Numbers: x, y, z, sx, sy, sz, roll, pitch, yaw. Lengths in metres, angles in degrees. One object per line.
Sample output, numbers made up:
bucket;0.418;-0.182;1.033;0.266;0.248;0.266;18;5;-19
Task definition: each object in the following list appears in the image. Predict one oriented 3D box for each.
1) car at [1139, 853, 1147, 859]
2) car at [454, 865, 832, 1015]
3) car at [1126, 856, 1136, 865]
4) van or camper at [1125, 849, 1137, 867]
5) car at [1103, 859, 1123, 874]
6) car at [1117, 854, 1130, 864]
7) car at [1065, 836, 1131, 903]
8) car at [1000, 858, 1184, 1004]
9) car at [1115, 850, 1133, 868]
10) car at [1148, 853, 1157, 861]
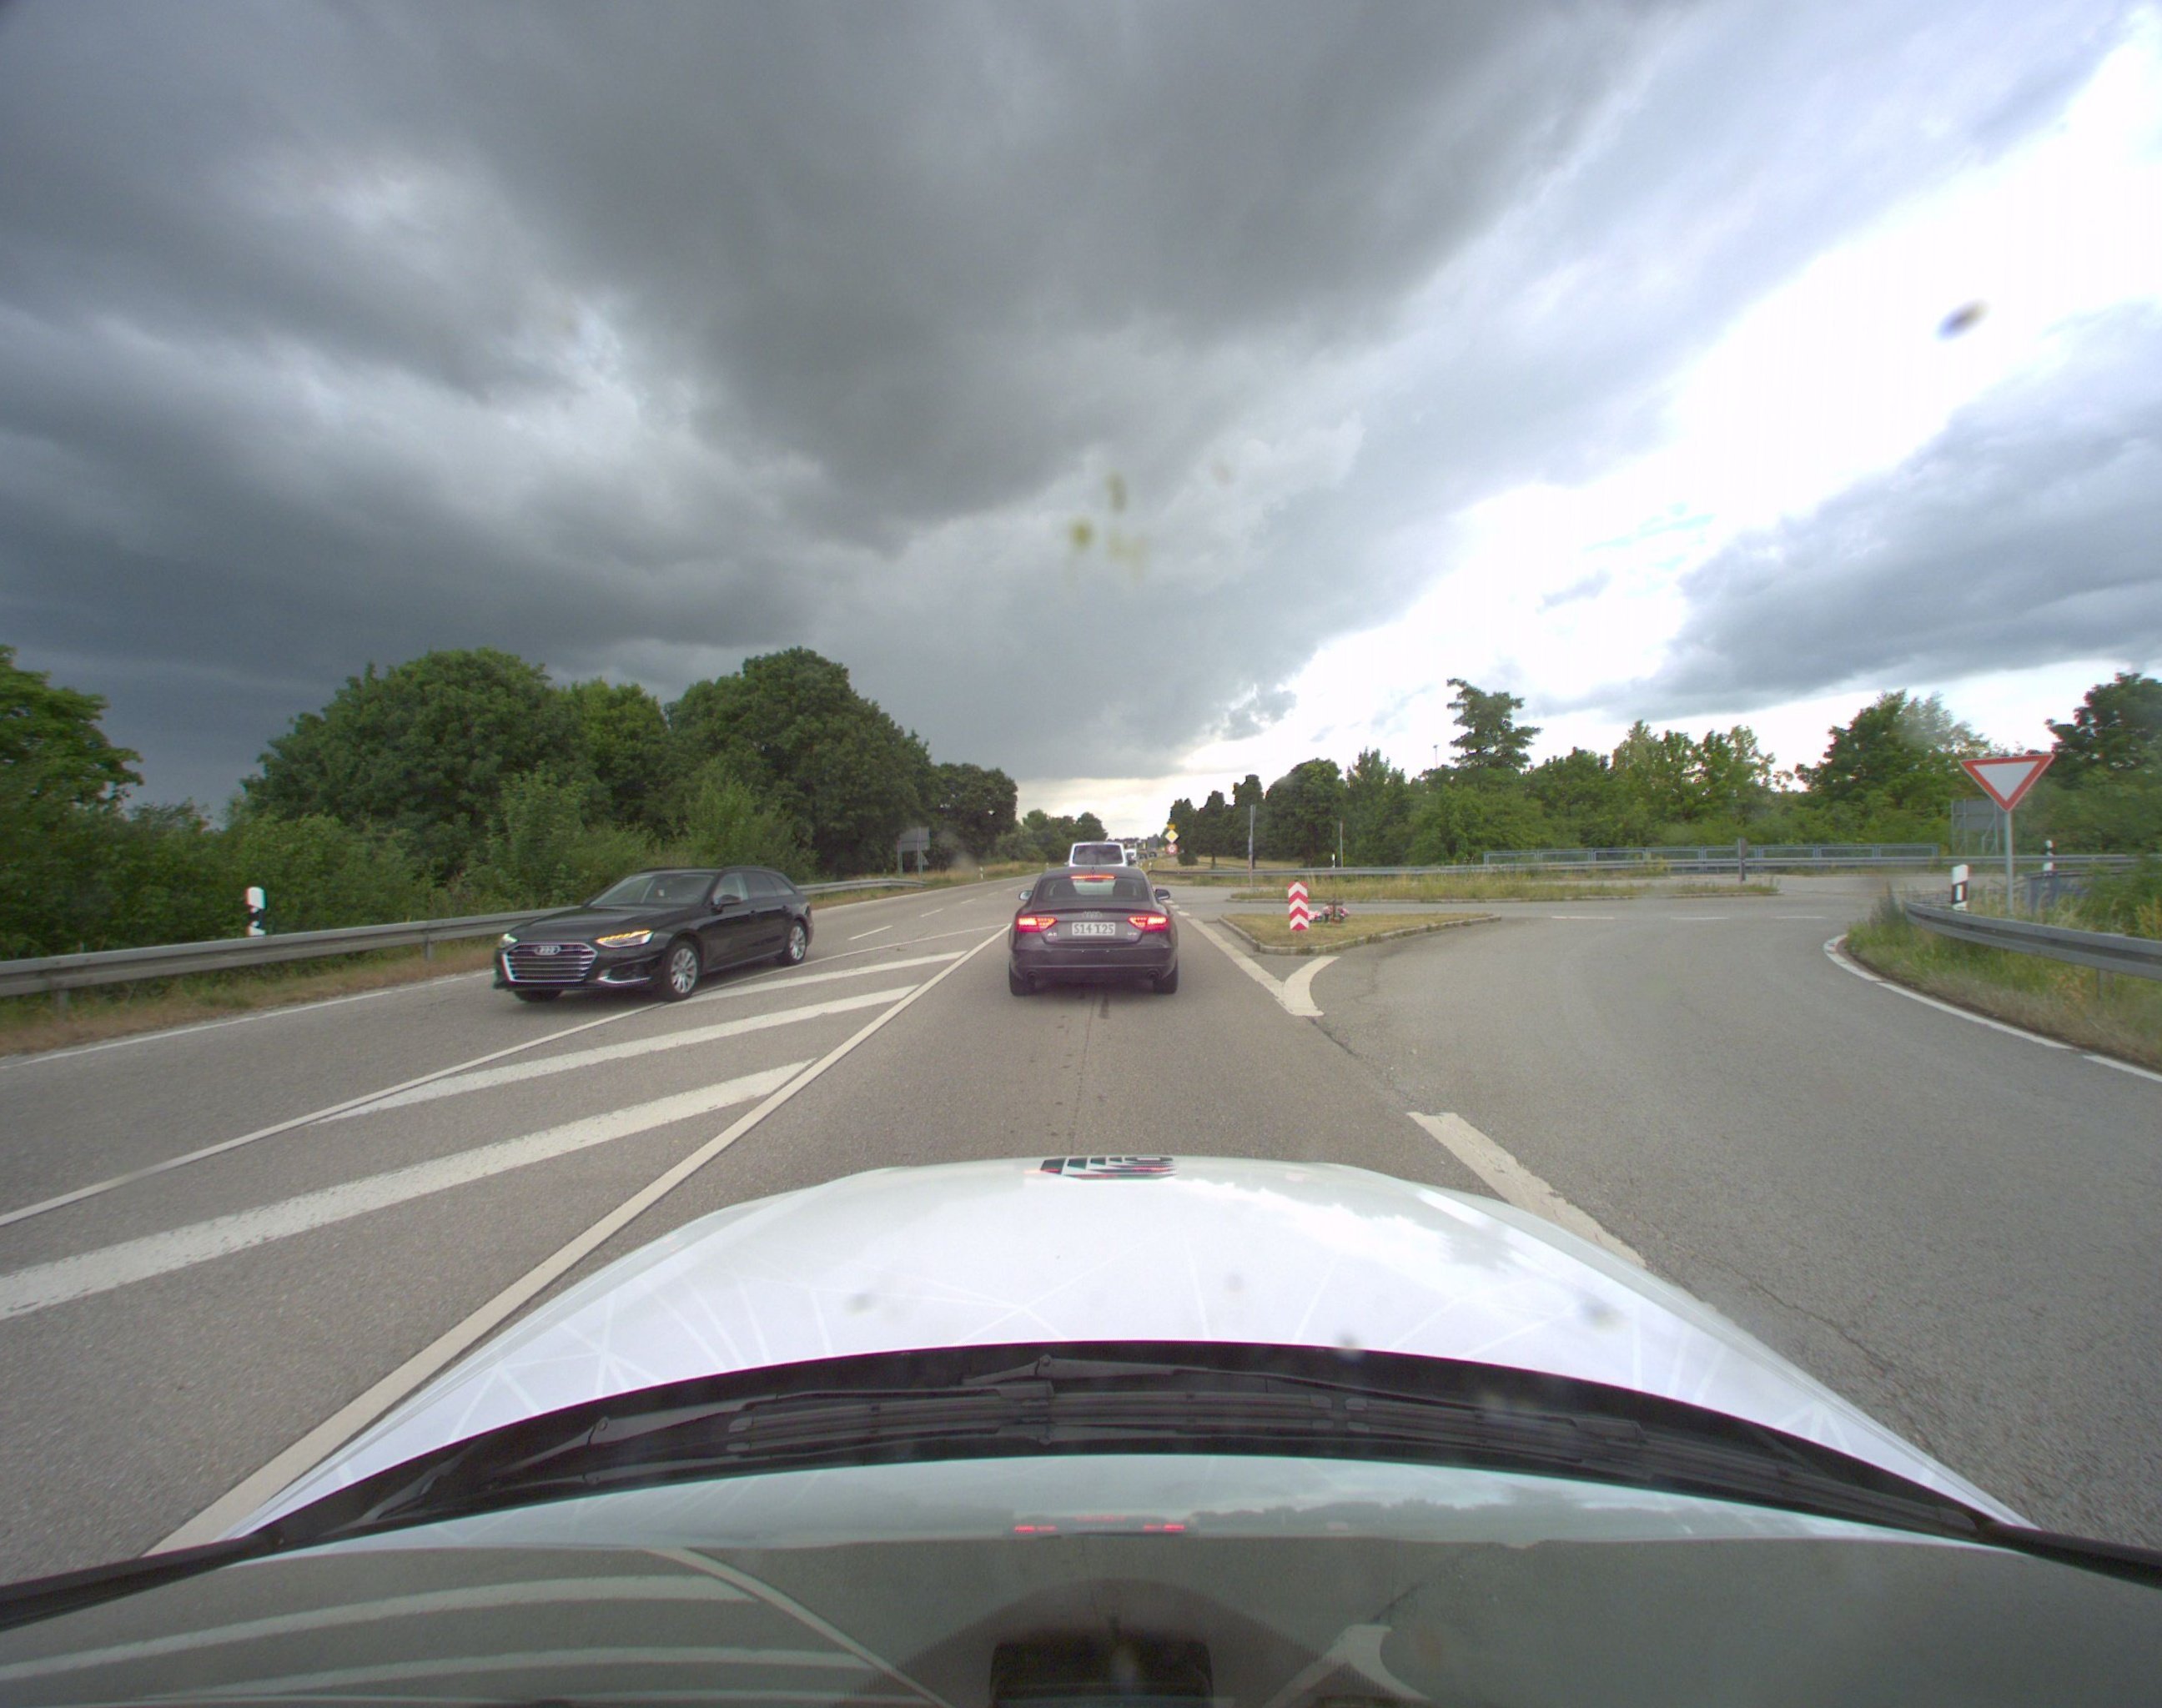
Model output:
car;14.800;0.532;193.564;1.712;1.451;4.003;-1;0;3
car;-4.946;0.867;10.147;1.811;1.374;4.619;-1;0;6
car;8.538;1.080;138.838;1.251;1.353;3.473;-2;0;8
van or camper;9.682;0.787;157.196;2.330;3.481;5.724;-1;0;4
car;3.304;1.268;82.915;1.787;1.464;3.253;-1;0;5
car;6.646;0.736;126.786;1.726;1.514;3.755;-2;0;8
car;0.545;0.427;24.814;1.832;1.882;4.002;-1;0;2
car;0.169;0.760;9.927;1.776;1.376;4.002;-1;0;2
car;5.173;0.577;97.417;1.984;2.088;4.005;-2;0;5
car;19.291;0.775;220.126;1.986;2.013;4.001;-1;0;1
